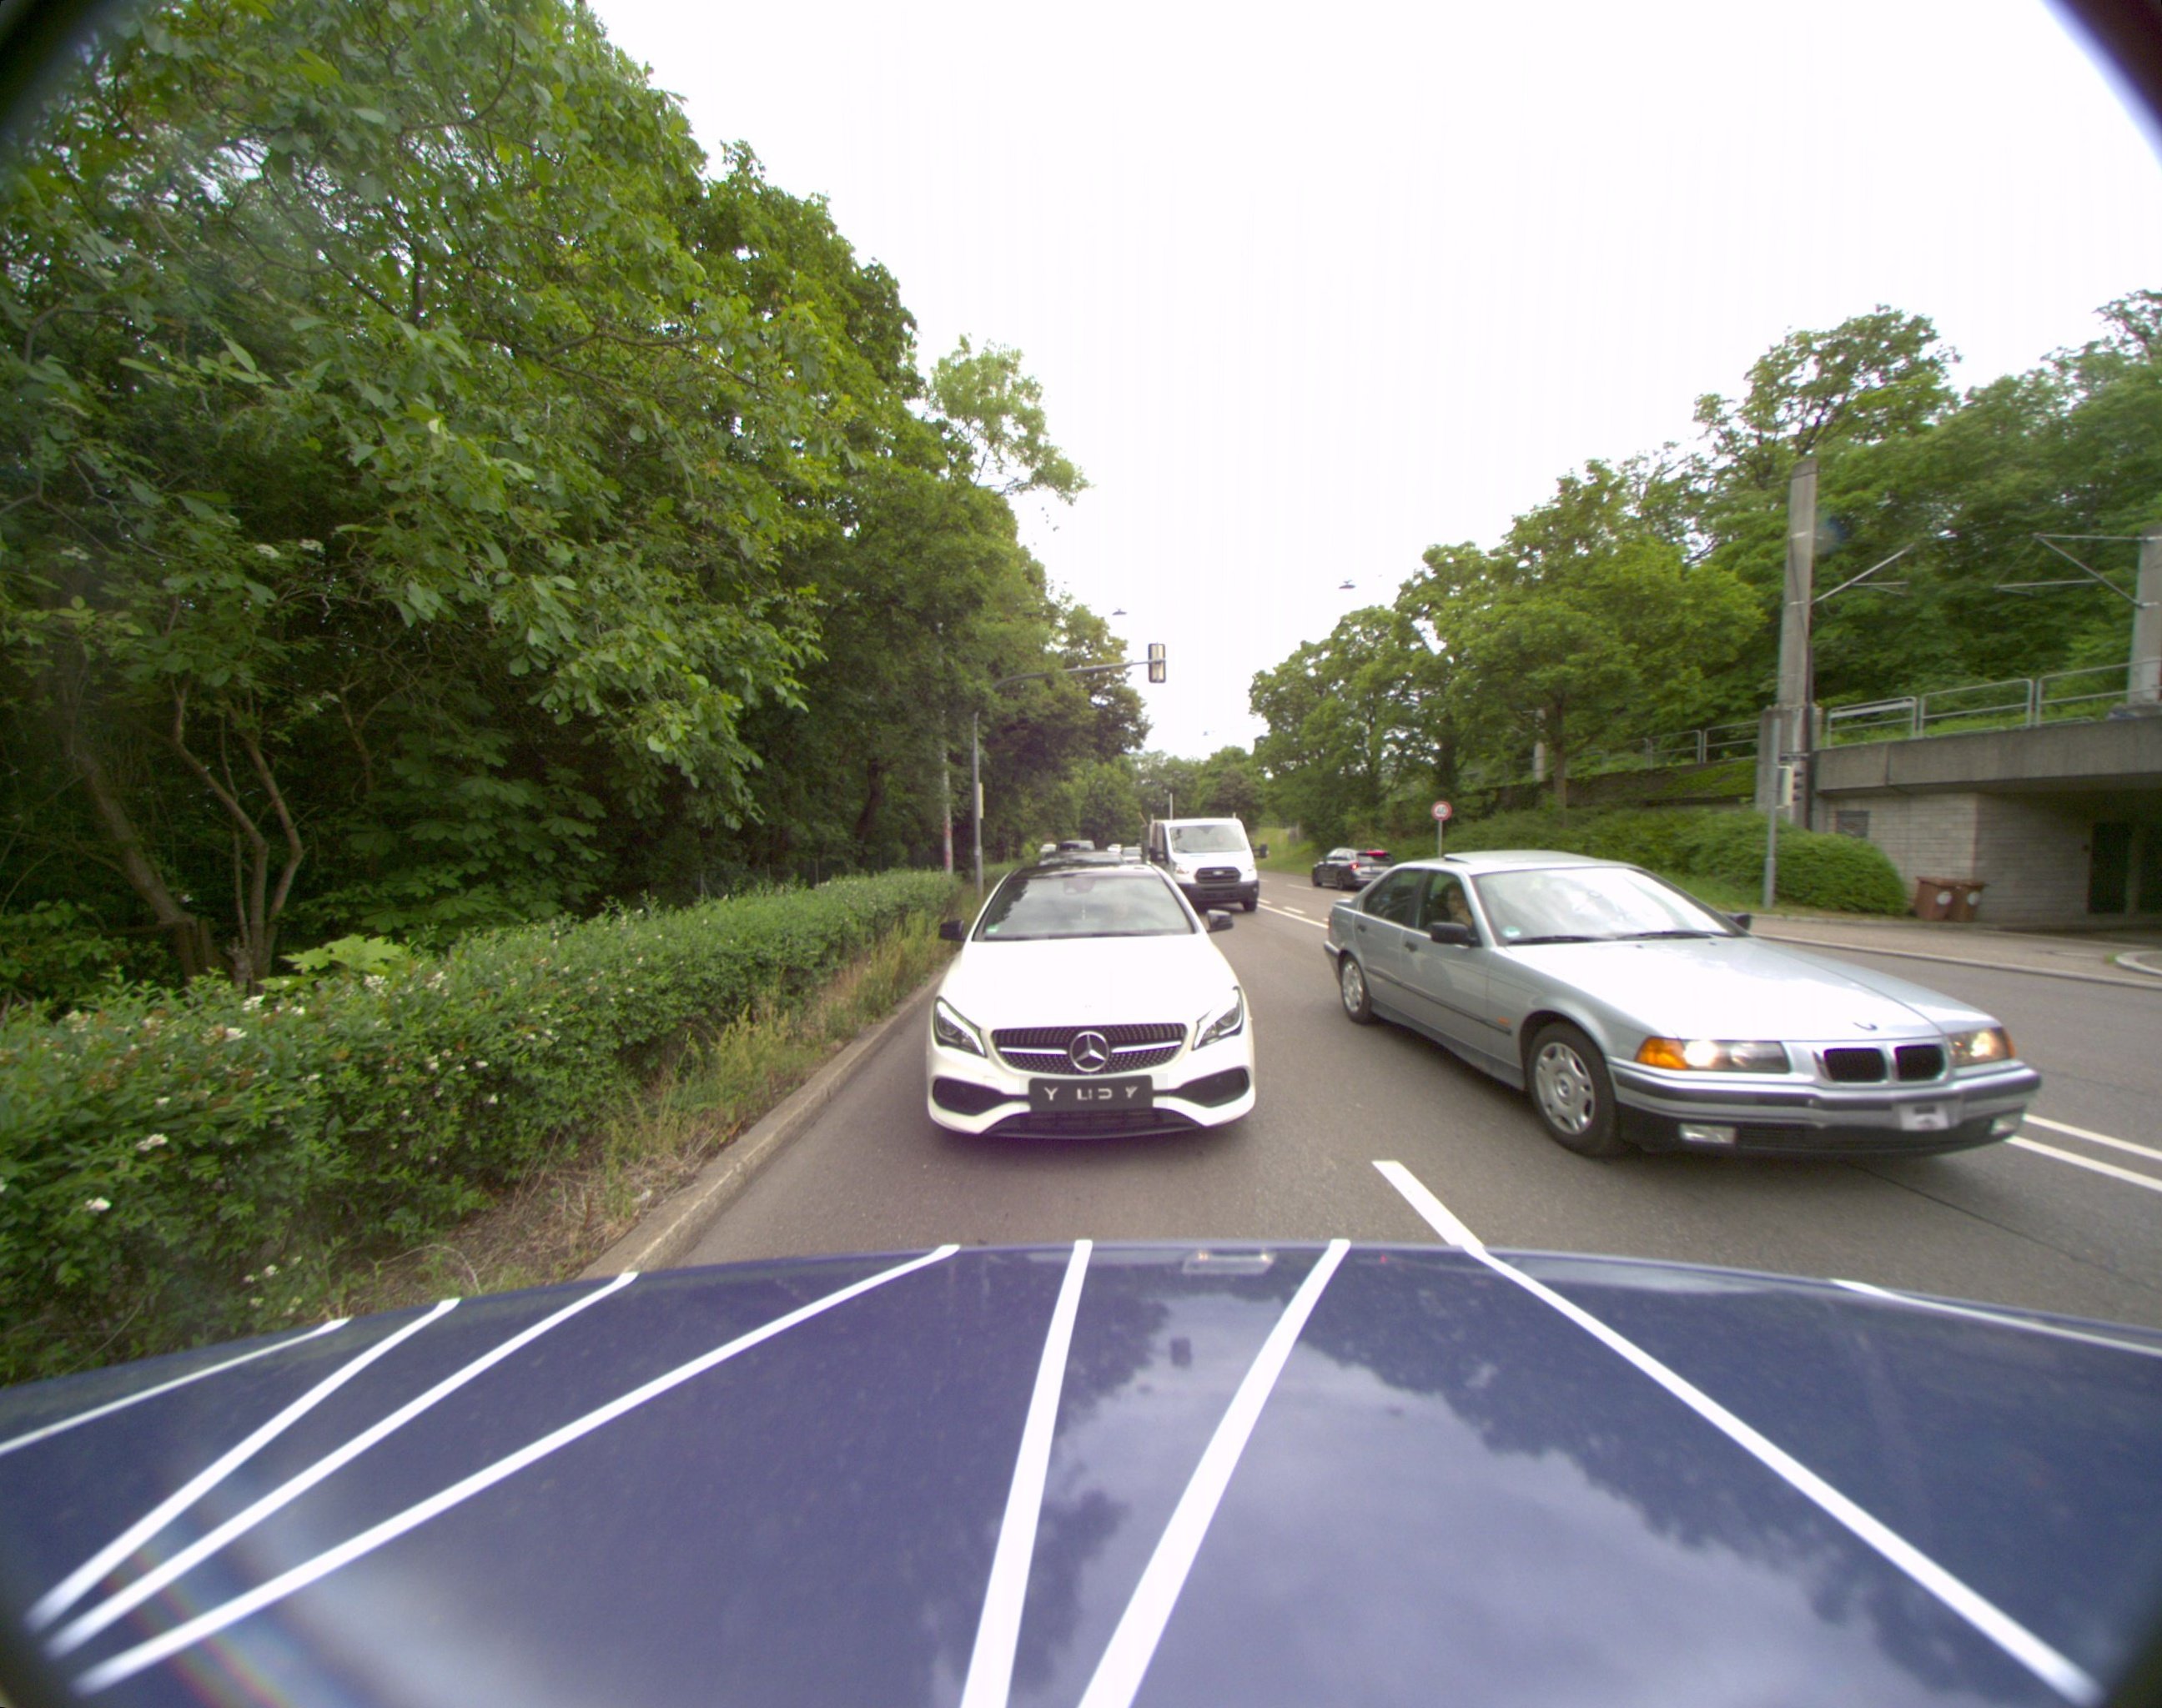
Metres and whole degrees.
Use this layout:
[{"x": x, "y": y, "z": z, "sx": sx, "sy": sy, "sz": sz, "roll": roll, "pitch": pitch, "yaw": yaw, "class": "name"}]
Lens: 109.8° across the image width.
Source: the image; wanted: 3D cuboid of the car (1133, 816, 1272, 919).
[{"x": 2.792, "y": 0.233, "z": 19.301, "sx": 2.253, "sy": 2.114, "sz": 6.667, "roll": -2, "pitch": 1, "yaw": -1, "class": "car"}]

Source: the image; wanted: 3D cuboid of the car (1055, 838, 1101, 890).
[{"x": -0.165, "y": 0.380, "z": 32.407, "sx": 1.826, "sy": 2.059, "sz": 4.613, "roll": -1, "pitch": 1, "yaw": -1, "class": "car"}]

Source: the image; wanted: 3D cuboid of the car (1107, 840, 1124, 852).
[{"x": 4.513, "y": -1.065, "z": 98.734, "sx": 1.676, "sy": 1.532, "sz": 4.617, "roll": -1, "pitch": 1, "yaw": 9, "class": "car"}]

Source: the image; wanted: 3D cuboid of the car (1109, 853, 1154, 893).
[{"x": 2.133, "y": 0.758, "z": 32.995, "sx": 1.677, "sy": 1.532, "sz": 4.552, "roll": -1, "pitch": 1, "yaw": 0, "class": "car"}]

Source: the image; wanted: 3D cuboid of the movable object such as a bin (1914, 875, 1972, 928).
[{"x": 18.420, "y": 1.008, "z": 16.247, "sx": 0.544, "sy": 1.092, "sz": 0.563, "roll": 1, "pitch": 1, "yaw": -1, "class": "movable object such as a bin"}]

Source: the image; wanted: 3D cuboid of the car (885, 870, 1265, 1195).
[{"x": -0.029, "y": 0.908, "z": 5.792, "sx": 1.807, "sy": 1.385, "sz": 4.283, "roll": -1, "pitch": 1, "yaw": 0, "class": "car"}]

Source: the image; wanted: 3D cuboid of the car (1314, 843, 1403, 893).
[{"x": 9.264, "y": 0.420, "z": 25.642, "sx": 1.677, "sy": 1.532, "sz": 3.749, "roll": -1, "pitch": 1, "yaw": 1, "class": "car"}]

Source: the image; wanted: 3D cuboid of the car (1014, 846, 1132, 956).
[{"x": -0.160, "y": 0.654, "z": 13.206, "sx": 1.678, "sy": 1.532, "sz": 4.613, "roll": -1, "pitch": 1, "yaw": -1, "class": "car"}]

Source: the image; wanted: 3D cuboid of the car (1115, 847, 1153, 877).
[{"x": 2.872, "y": 0.401, "z": 41.941, "sx": 1.678, "sy": 1.532, "sz": 4.613, "roll": 0, "pitch": 1, "yaw": -1, "class": "car"}]

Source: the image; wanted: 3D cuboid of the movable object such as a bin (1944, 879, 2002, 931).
[{"x": 18.939, "y": 1.074, "z": 16.139, "sx": 0.544, "sy": 1.070, "sz": 0.563, "roll": 1, "pitch": 1, "yaw": -1, "class": "movable object such as a bin"}]

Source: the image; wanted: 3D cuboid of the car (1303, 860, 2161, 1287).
[{"x": 3.023, "y": 0.798, "z": 4.993, "sx": 1.757, "sy": 1.385, "sz": 4.614, "roll": -1, "pitch": 1, "yaw": 0, "class": "car"}]

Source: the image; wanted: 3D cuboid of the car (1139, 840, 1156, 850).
[{"x": 10.669, "y": -1.515, "z": 121.853, "sx": 1.675, "sy": 1.532, "sz": 4.620, "roll": 0, "pitch": 1, "yaw": 18, "class": "car"}]
